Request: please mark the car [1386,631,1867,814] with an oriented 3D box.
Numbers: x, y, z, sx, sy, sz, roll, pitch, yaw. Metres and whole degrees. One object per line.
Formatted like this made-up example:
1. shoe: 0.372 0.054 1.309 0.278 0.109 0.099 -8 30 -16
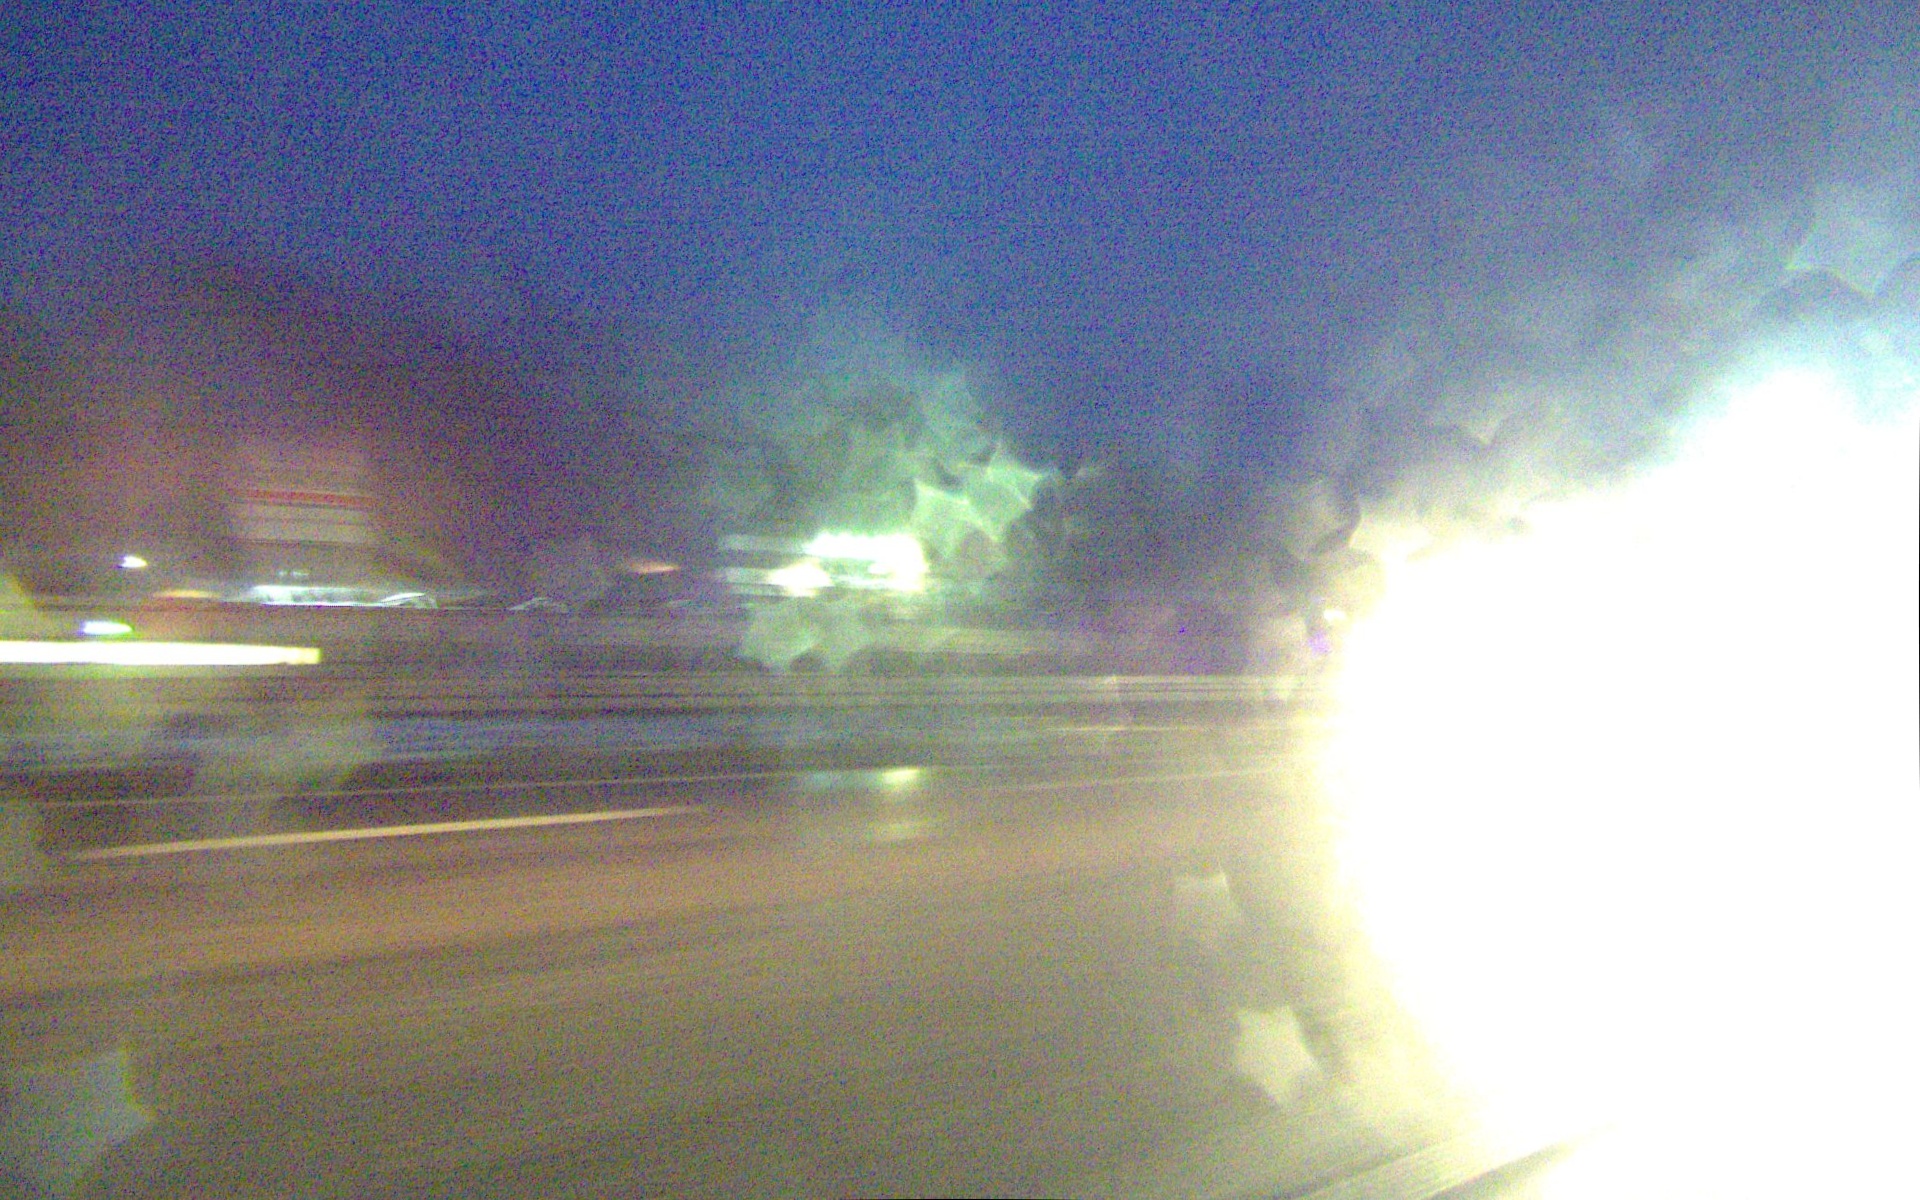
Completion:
1. car: 6.592 1.059 9.850 4.709 1.401 1.798 2 0 -26
